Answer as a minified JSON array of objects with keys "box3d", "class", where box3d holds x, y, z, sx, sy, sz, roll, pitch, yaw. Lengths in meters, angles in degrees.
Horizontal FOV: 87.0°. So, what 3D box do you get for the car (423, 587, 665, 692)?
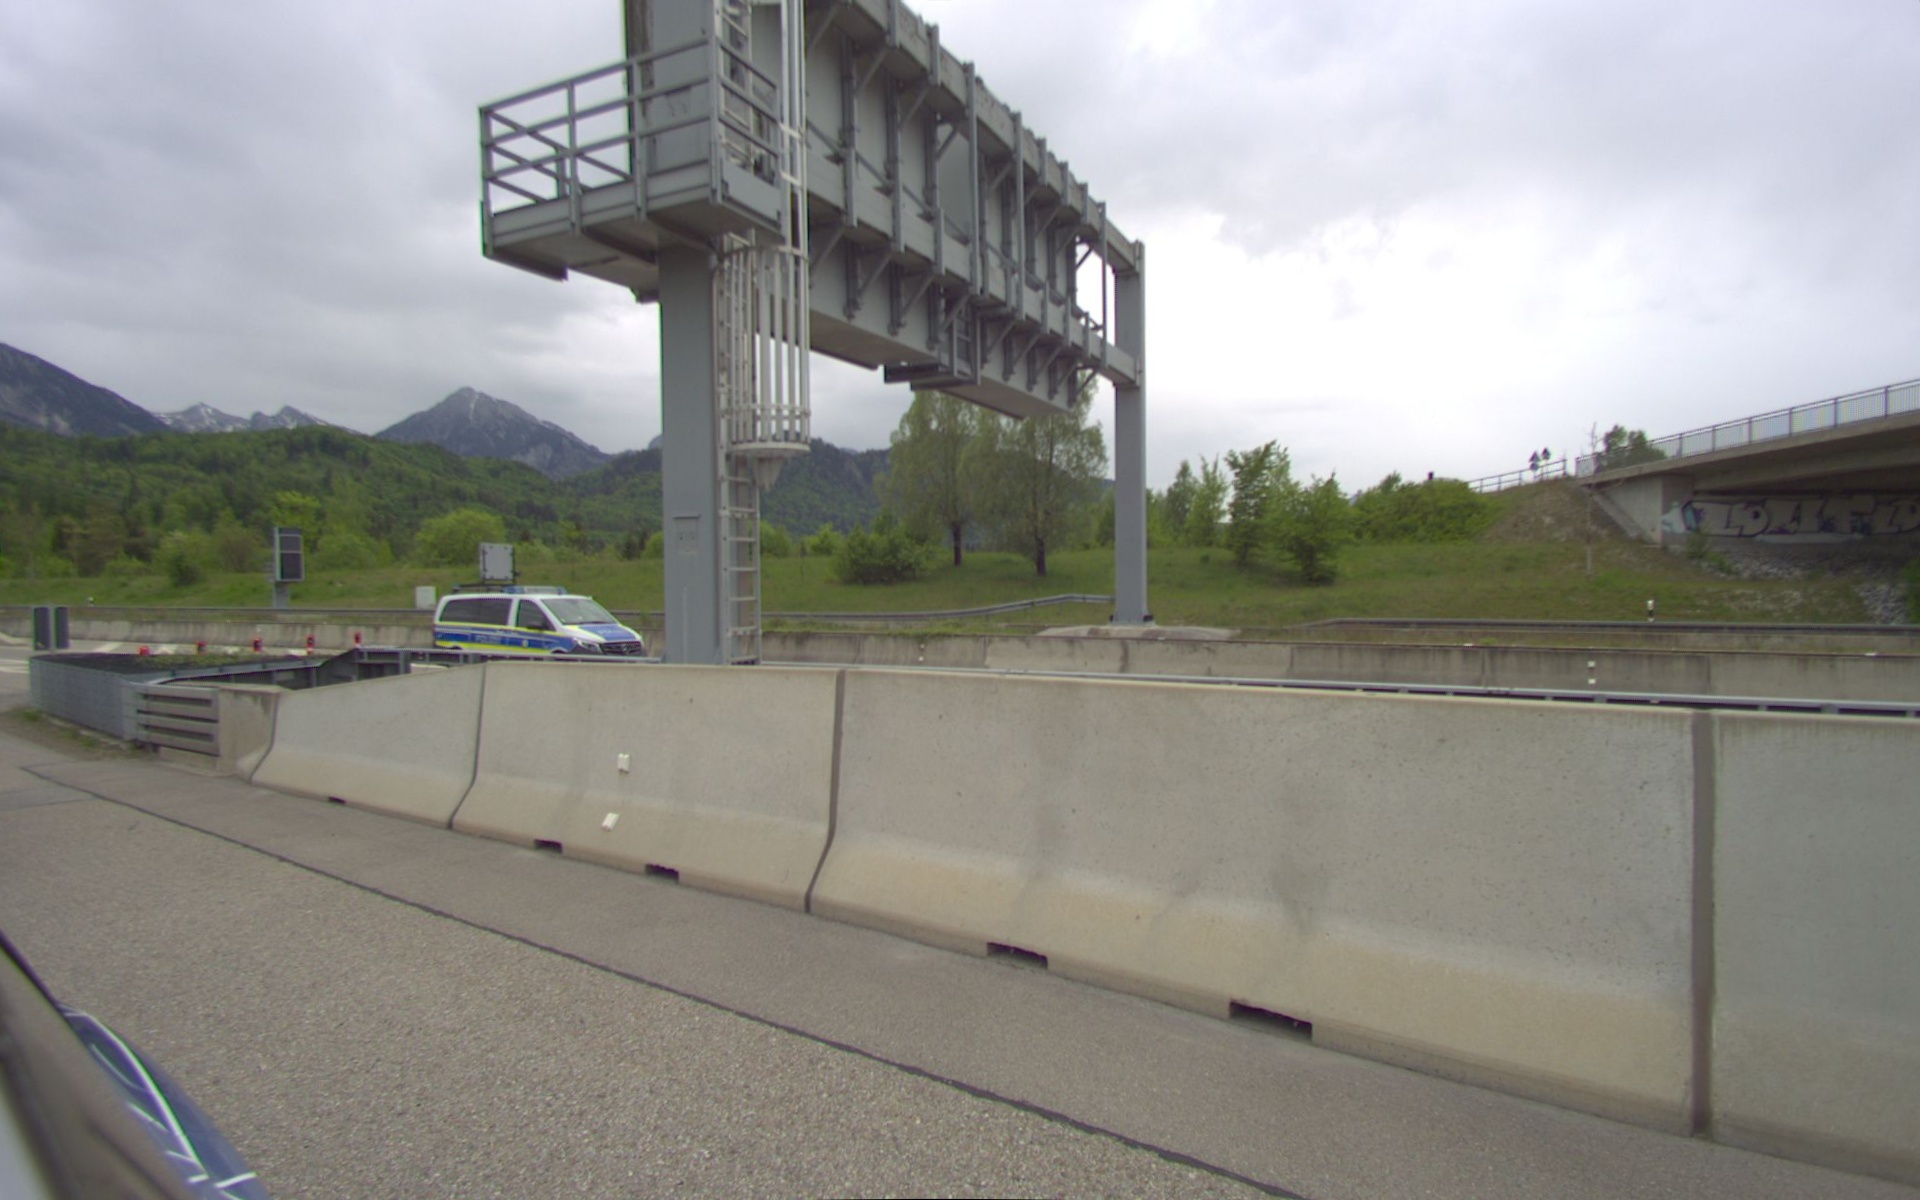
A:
[{"box3d":[-8.951,0.784,21.704,5.028,2.029,2.085,0,-1,28],"class":"car"}]
